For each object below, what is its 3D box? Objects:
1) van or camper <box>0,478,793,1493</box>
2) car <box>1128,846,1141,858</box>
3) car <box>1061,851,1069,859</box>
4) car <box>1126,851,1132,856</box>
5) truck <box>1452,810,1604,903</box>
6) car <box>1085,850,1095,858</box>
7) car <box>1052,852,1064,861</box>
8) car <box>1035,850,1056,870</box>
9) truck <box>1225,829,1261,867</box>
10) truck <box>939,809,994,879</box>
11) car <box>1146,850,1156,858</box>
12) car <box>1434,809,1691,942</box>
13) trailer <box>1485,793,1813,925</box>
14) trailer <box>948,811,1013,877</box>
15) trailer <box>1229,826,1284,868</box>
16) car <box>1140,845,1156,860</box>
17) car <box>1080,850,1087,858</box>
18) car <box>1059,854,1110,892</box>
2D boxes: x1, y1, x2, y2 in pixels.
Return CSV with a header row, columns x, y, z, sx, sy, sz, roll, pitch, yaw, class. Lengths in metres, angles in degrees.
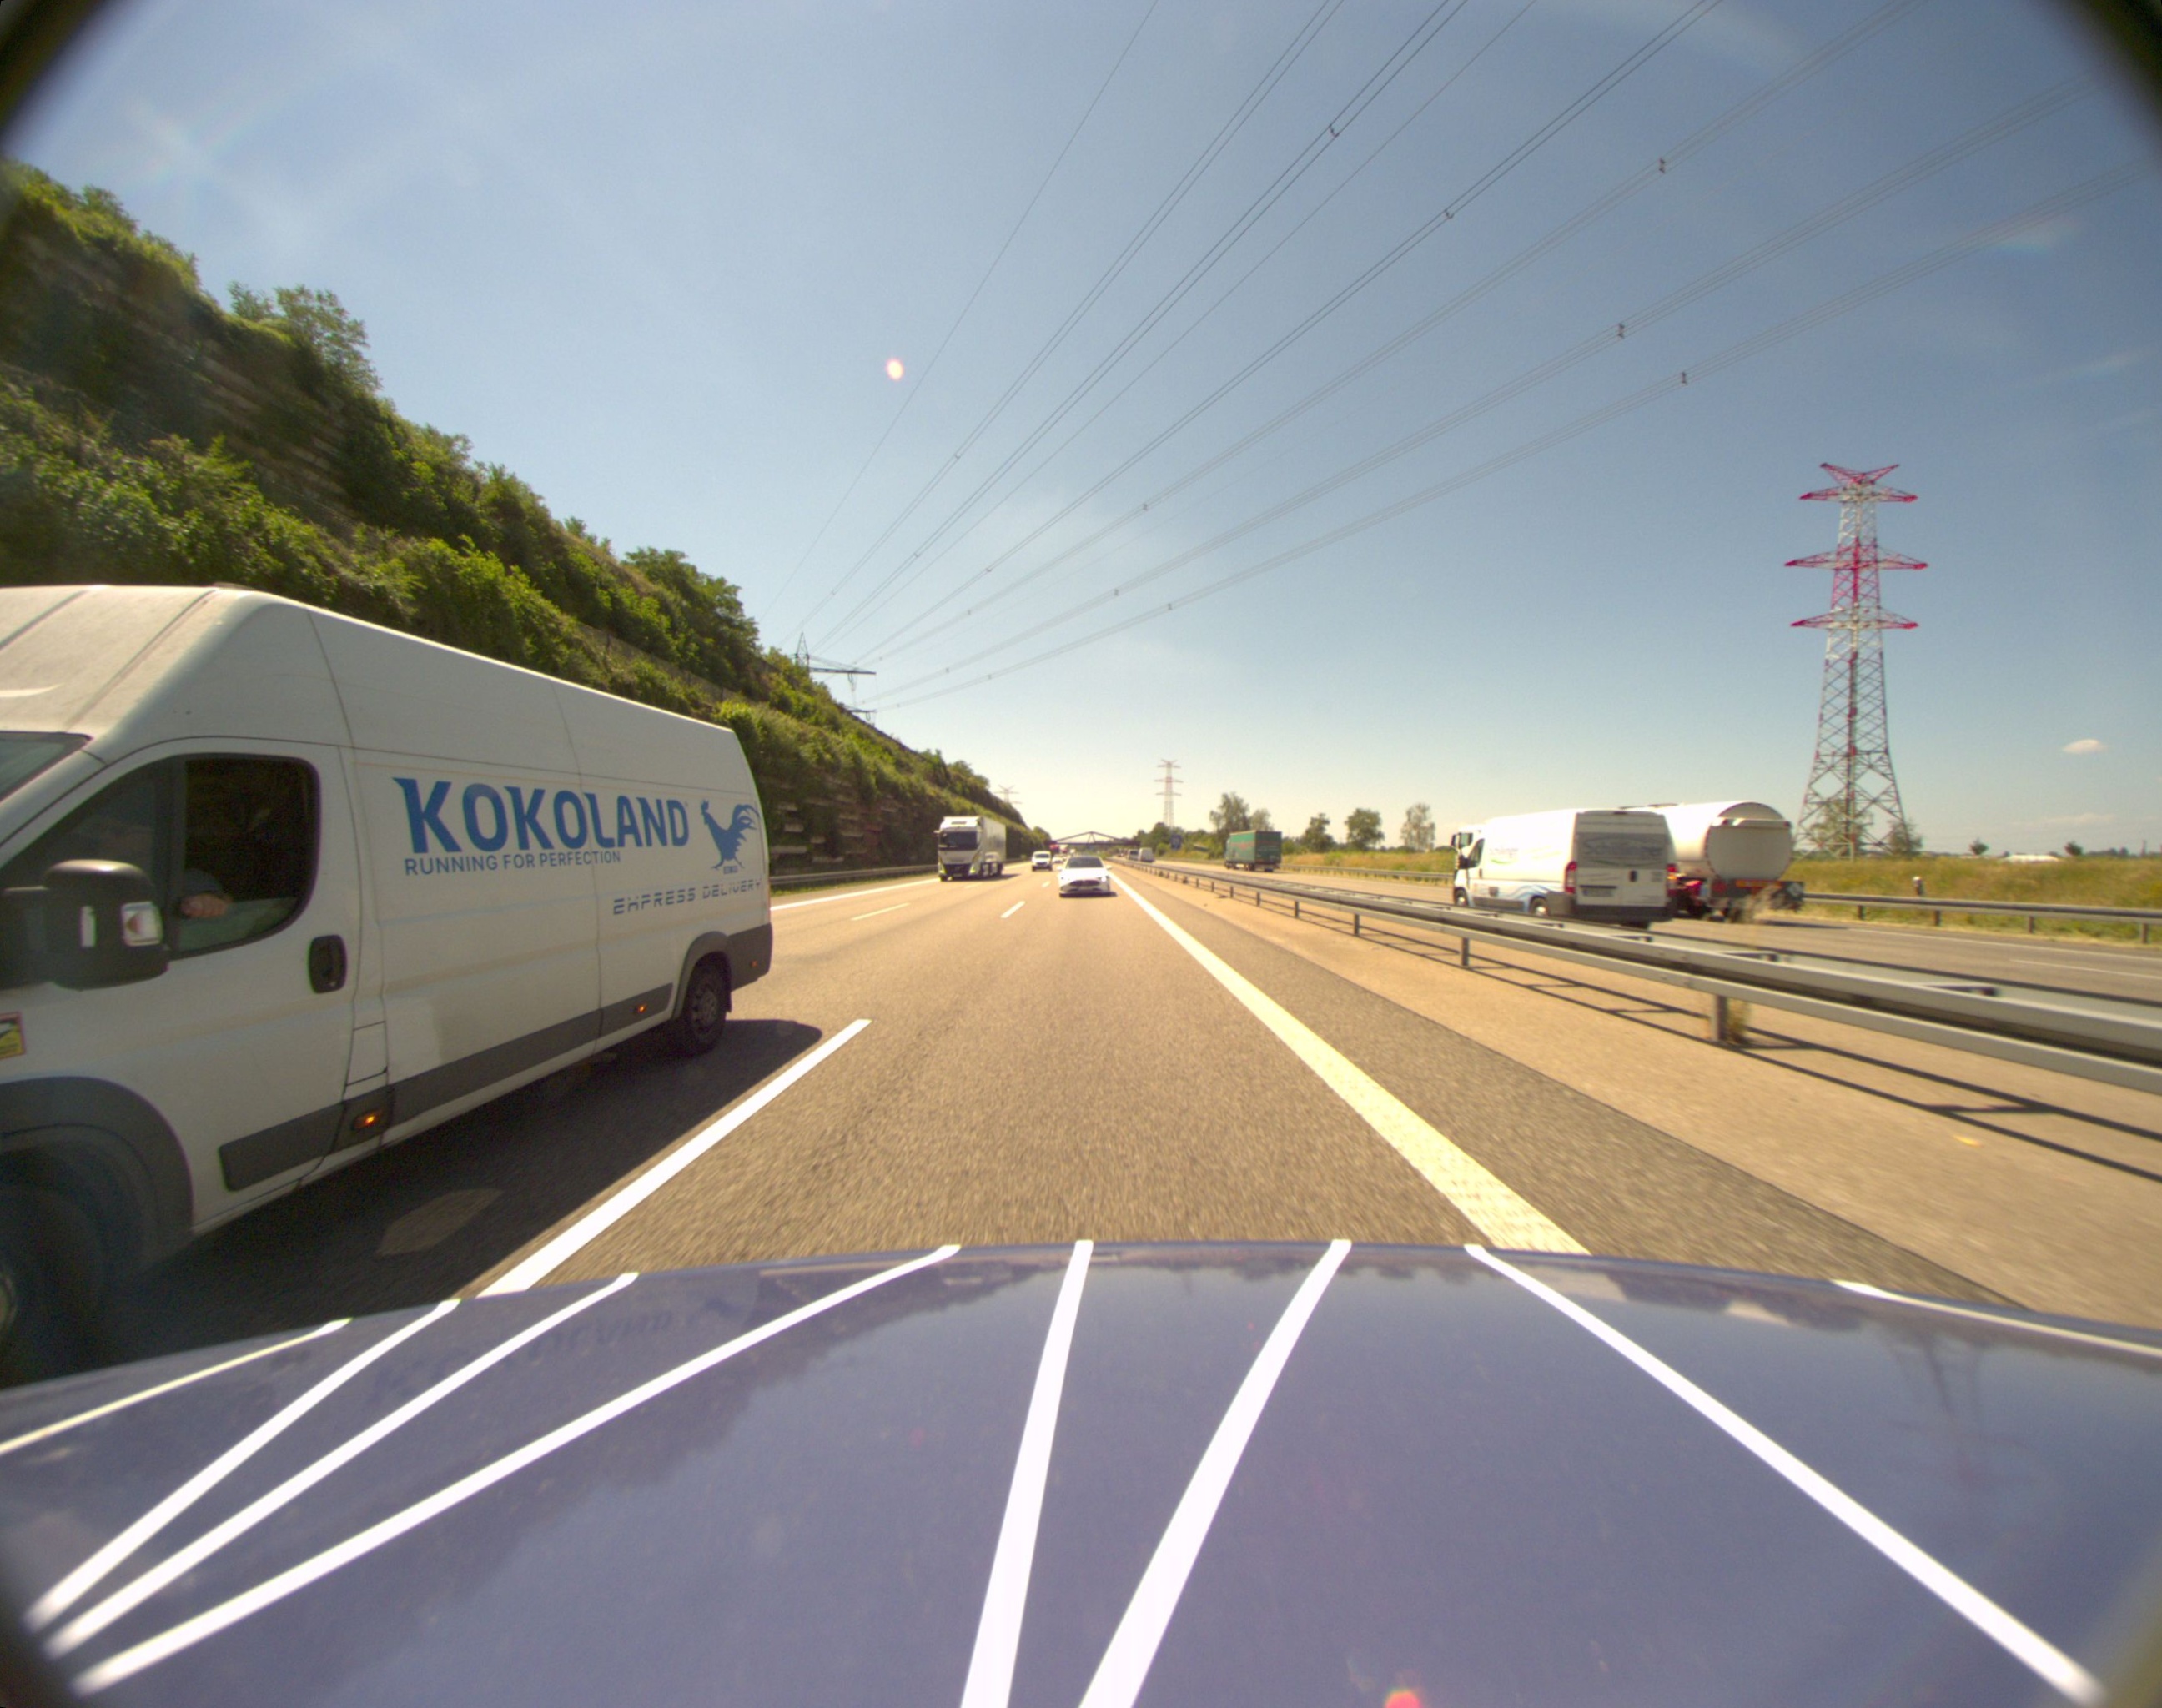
x,y,z,sx,sy,sz,roll,pitch,yaw,class
-3.981,0.352,4.244,2.102,2.753,6.756,-1,0,0,van or camper
10.690,-0.344,151.134,2.114,2.284,6.706,0,0,0,car
-3.308,0.188,157.700,1.784,1.475,3.999,-1,0,-1,car
15.403,-0.126,244.768,1.622,1.451,4.283,3,0,-1,car
17.657,0.082,30.561,2.489,3.359,6.211,0,0,1,truck
1.779,0.000,146.189,1.784,1.475,3.999,1,0,-1,car
-3.556,0.398,120.038,1.784,1.475,3.999,-1,0,-1,car
-3.273,0.504,70.930,1.784,1.783,4.000,-1,0,0,car
18.260,-0.698,86.083,2.706,4.110,6.580,0,1,0,truck
-7.197,-0.612,48.447,2.514,4.196,6.255,0,1,0,truck
14.807,0.000,160.864,1.712,1.515,4.513,2,0,0,car
10.211,0.369,16.923,1.998,2.423,6.030,1,0,2,car
17.540,0.087,25.156,2.422,3.352,11.563,0,0,2,trailer
-7.171,-0.659,56.899,2.521,4.187,17.025,0,0,0,trailer
18.273,-0.683,80.186,2.676,4.061,13.914,0,0,0,trailer
10.984,-0.284,124.957,2.053,2.424,6.068,1,0,0,car
0.681,-0.074,206.873,1.998,2.002,4.000,-2,1,1,car
0.115,0.746,32.074,1.999,1.474,4.107,-1,0,-1,car
